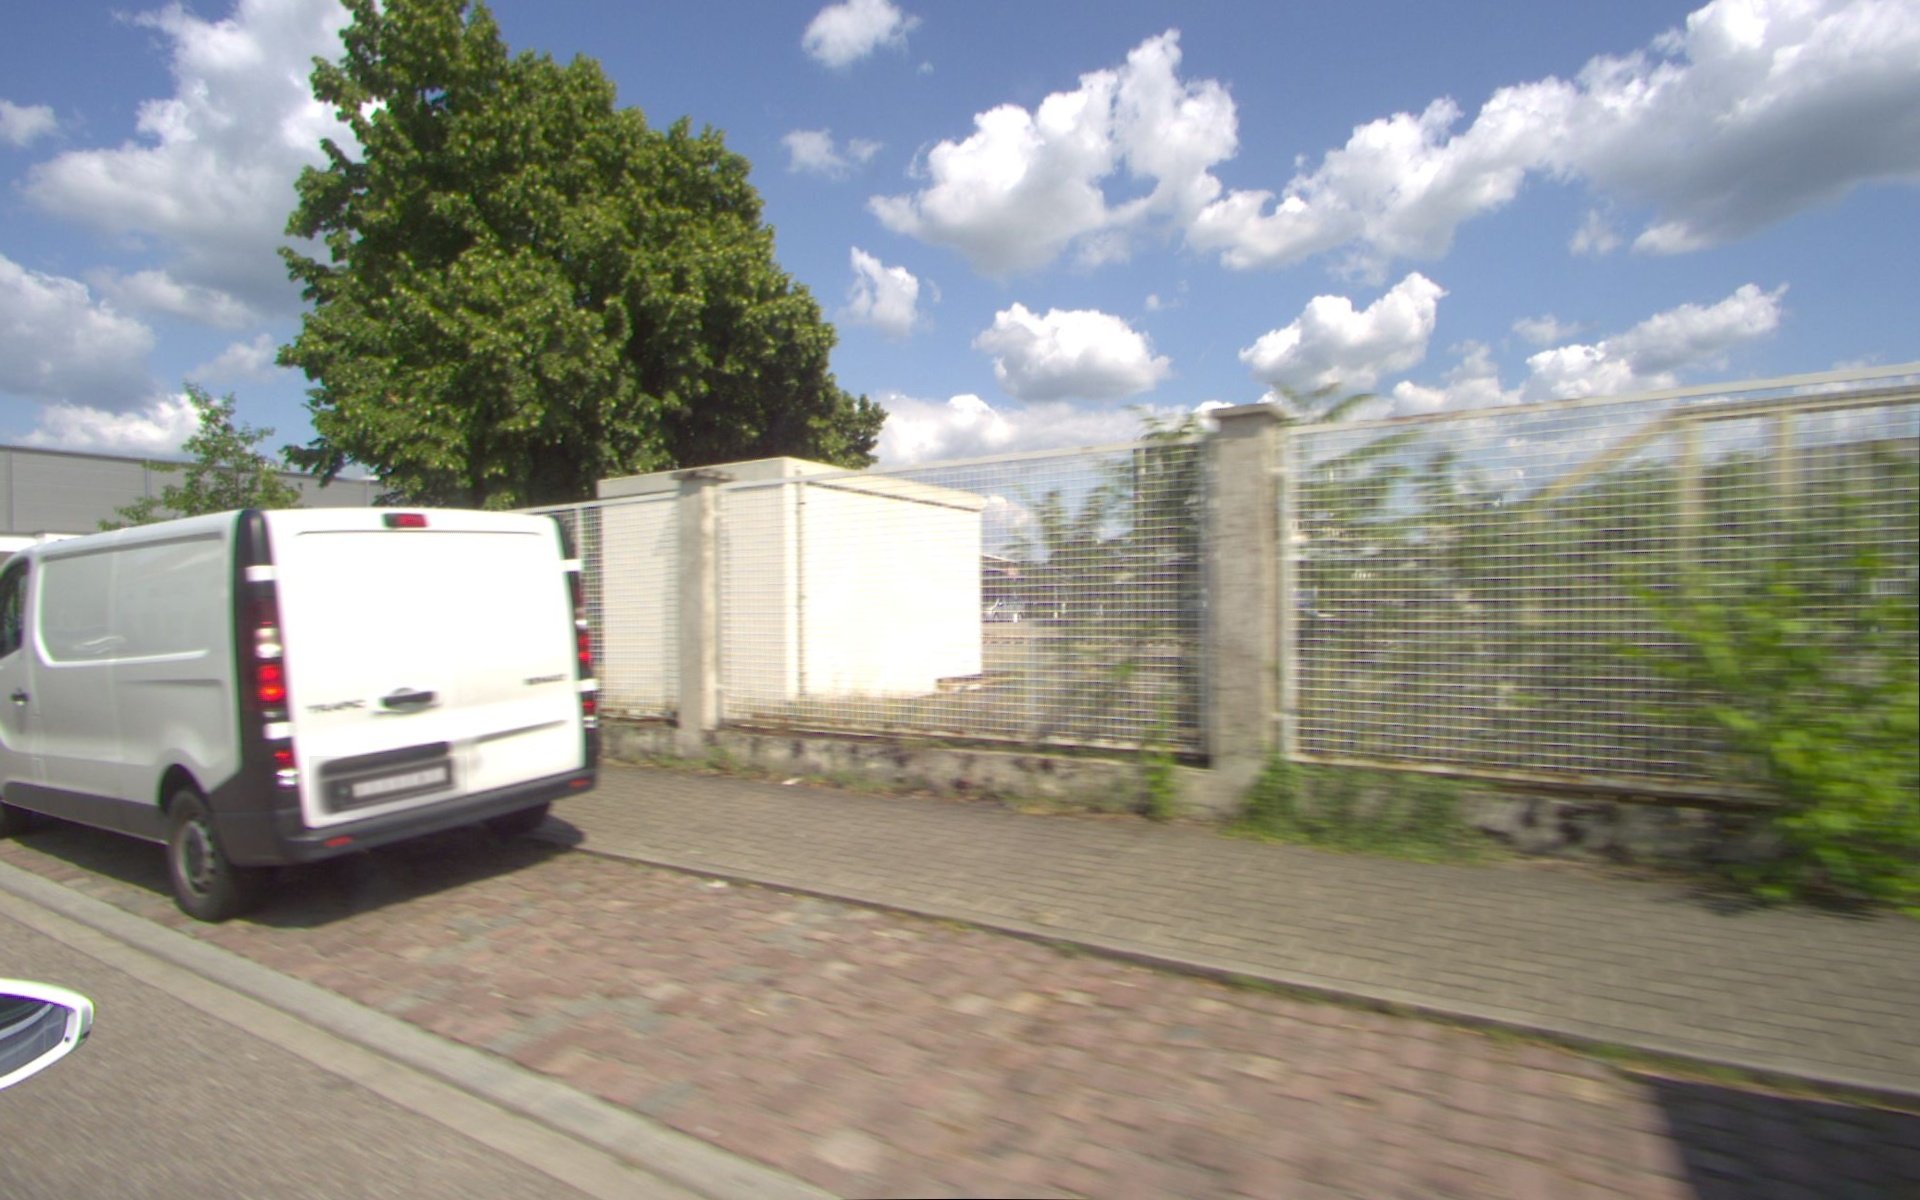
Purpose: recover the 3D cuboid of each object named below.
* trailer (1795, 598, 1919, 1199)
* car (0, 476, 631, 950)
[{"bbox_3d":[3.920,0.700,0.972,4.479,1.437,1.747,-2,2,27],"label":"trailer"},{"bbox_3d":[-4.856,0.530,6.657,5.569,2.040,1.989,-1,0,33],"label":"car"}]
